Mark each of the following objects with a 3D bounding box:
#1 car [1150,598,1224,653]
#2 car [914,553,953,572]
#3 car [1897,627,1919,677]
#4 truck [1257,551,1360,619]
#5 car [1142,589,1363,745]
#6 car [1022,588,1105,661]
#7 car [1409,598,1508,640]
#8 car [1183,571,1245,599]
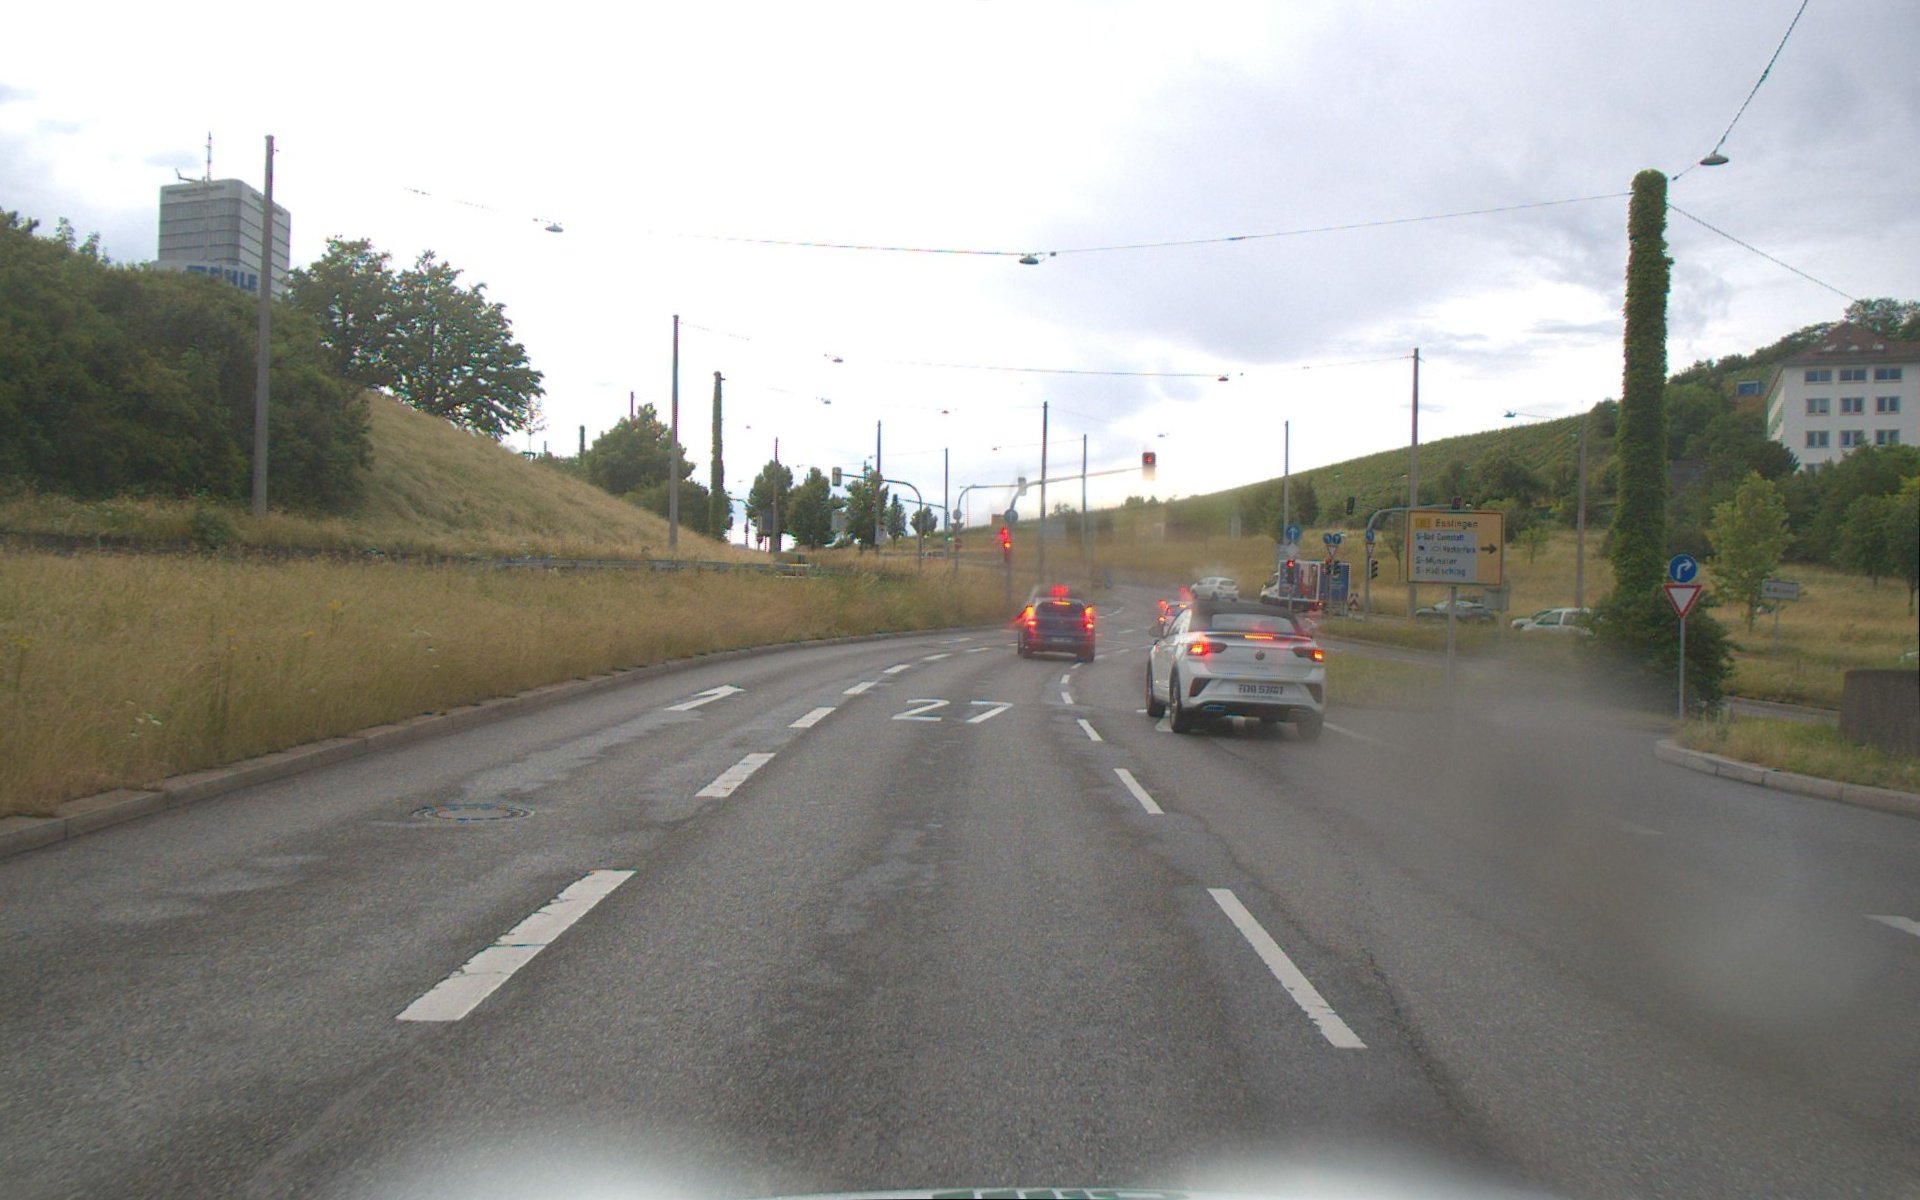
[{"bbox_3d":[7.137,0.776,51.832,1.737,1.545,3.727,4,1,15],"label":"car"},{"bbox_3d":[-2.472,-3.416,151.163,1.967,1.741,4.530,0,1,-24],"label":"car"},{"bbox_3d":[35.969,2.012,58.247,1.971,1.722,4.851,2,3,-28],"label":"car"},{"bbox_3d":[20.074,-0.925,95.711,2.809,3.587,6.195,0,3,-22],"label":"truck"},{"bbox_3d":[3.506,0.736,20.591,1.955,1.606,4.126,4,0,0],"label":"car"},{"bbox_3d":[2.591,0.594,40.735,1.886,1.627,4.063,2,-1,5],"label":"car"},{"bbox_3d":[24.979,0.917,82.933,1.976,1.741,4.511,-1,4,-34],"label":"car"},{"bbox_3d":[16.187,-0.988,105.738,1.964,1.526,4.538,0,4,-20],"label":"car"}]
